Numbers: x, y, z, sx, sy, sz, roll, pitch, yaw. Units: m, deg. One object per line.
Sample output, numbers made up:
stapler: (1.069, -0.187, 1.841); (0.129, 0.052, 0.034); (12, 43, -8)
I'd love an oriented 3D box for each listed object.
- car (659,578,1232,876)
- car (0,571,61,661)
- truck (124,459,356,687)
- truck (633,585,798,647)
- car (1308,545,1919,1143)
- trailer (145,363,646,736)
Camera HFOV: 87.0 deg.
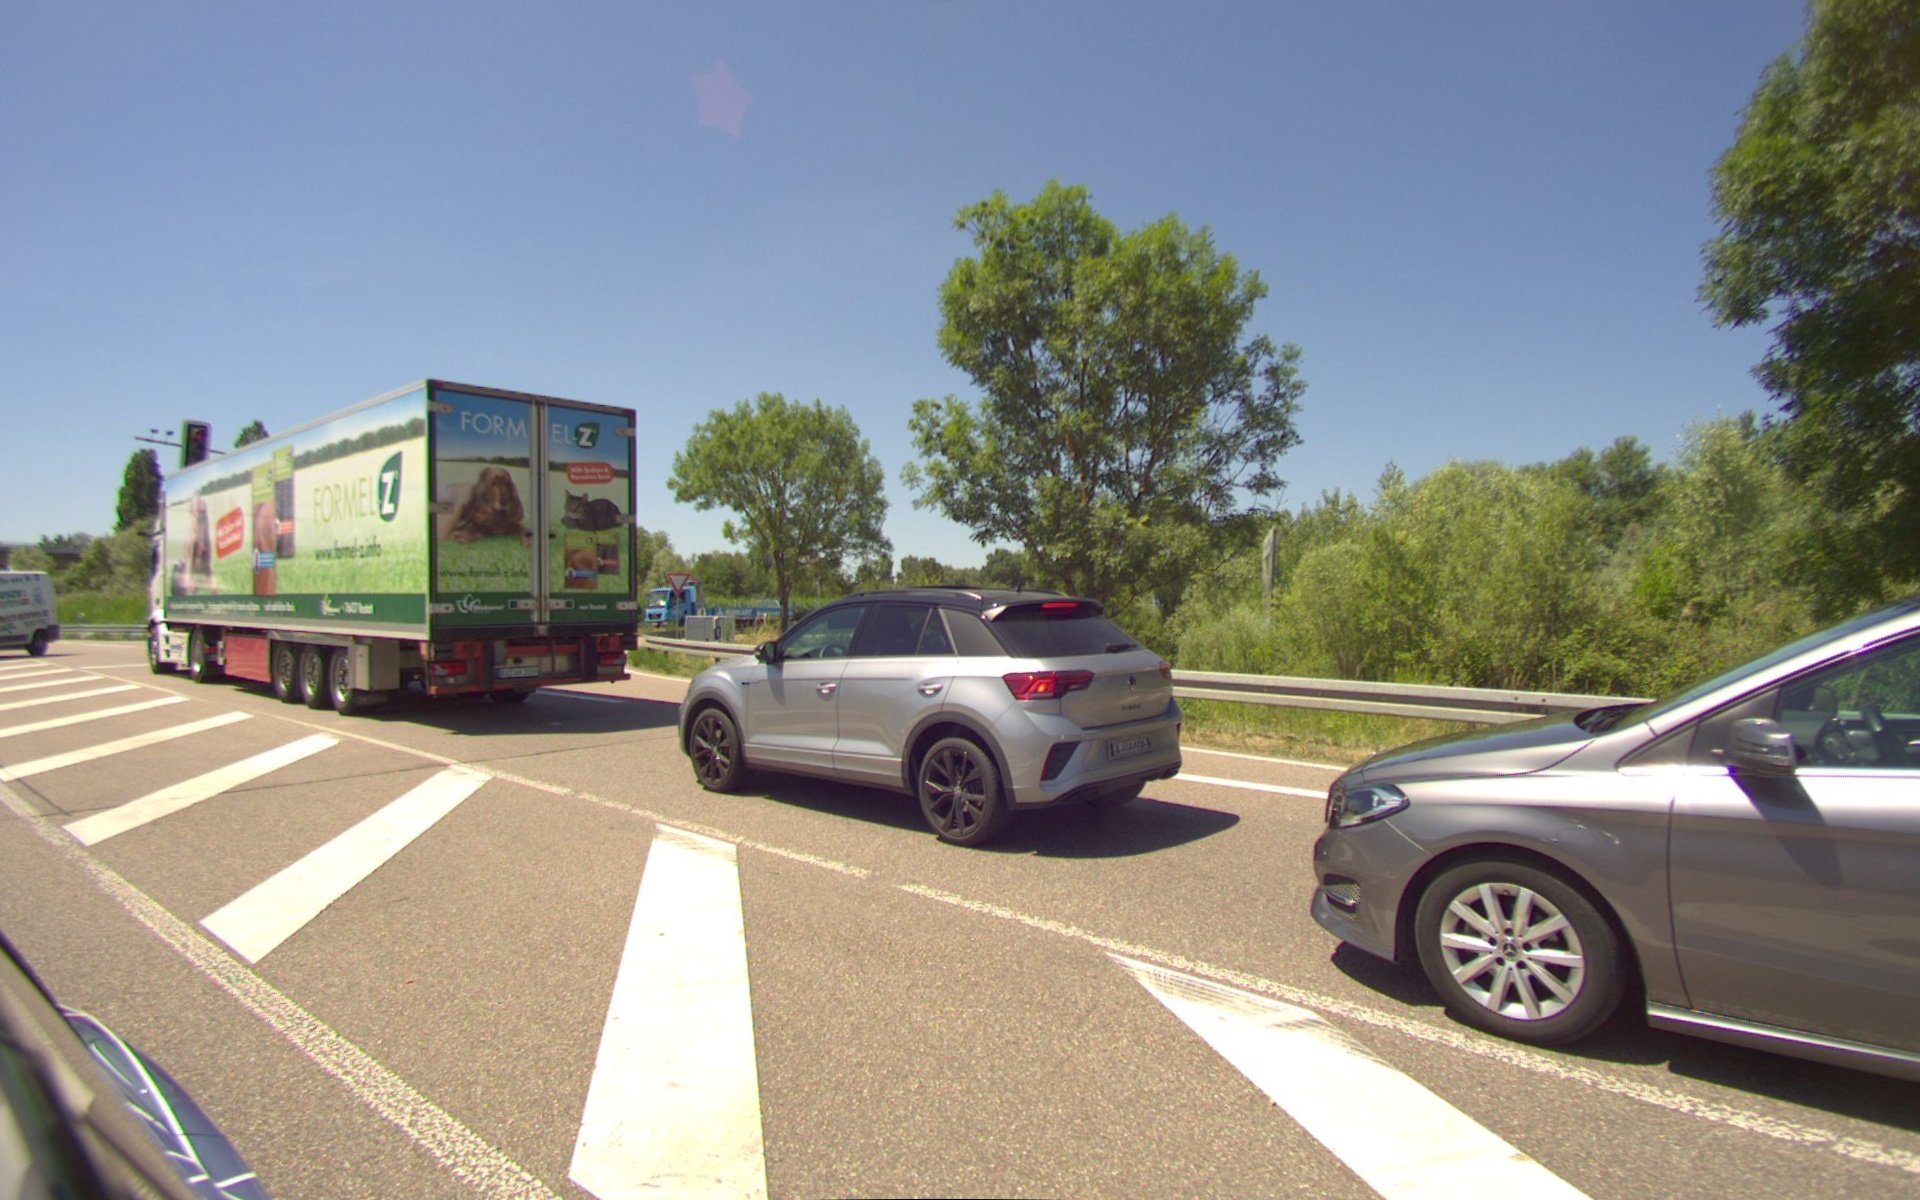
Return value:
car: (-0.325, 0.693, 7.386); (4.153, 1.573, 1.694); (-1, -1, 42)
car: (-27.792, 0.445, 27.628); (2.193, 2.514, 5.997); (0, 0, -12)
truck: (-15.094, -0.477, 21.073); (5.823, 4.075, 2.661); (-1, 0, 41)
truck: (-13.533, 0.913, 56.895); (2.695, 3.220, 9.047); (-1, -2, 42)
car: (3.428, 0.639, 2.839); (4.386, 1.549, 1.606); (-1, -2, 44)
trailer: (-10.240, -0.523, 16.735); (14.118, 4.075, 2.661); (-1, 0, 41)
